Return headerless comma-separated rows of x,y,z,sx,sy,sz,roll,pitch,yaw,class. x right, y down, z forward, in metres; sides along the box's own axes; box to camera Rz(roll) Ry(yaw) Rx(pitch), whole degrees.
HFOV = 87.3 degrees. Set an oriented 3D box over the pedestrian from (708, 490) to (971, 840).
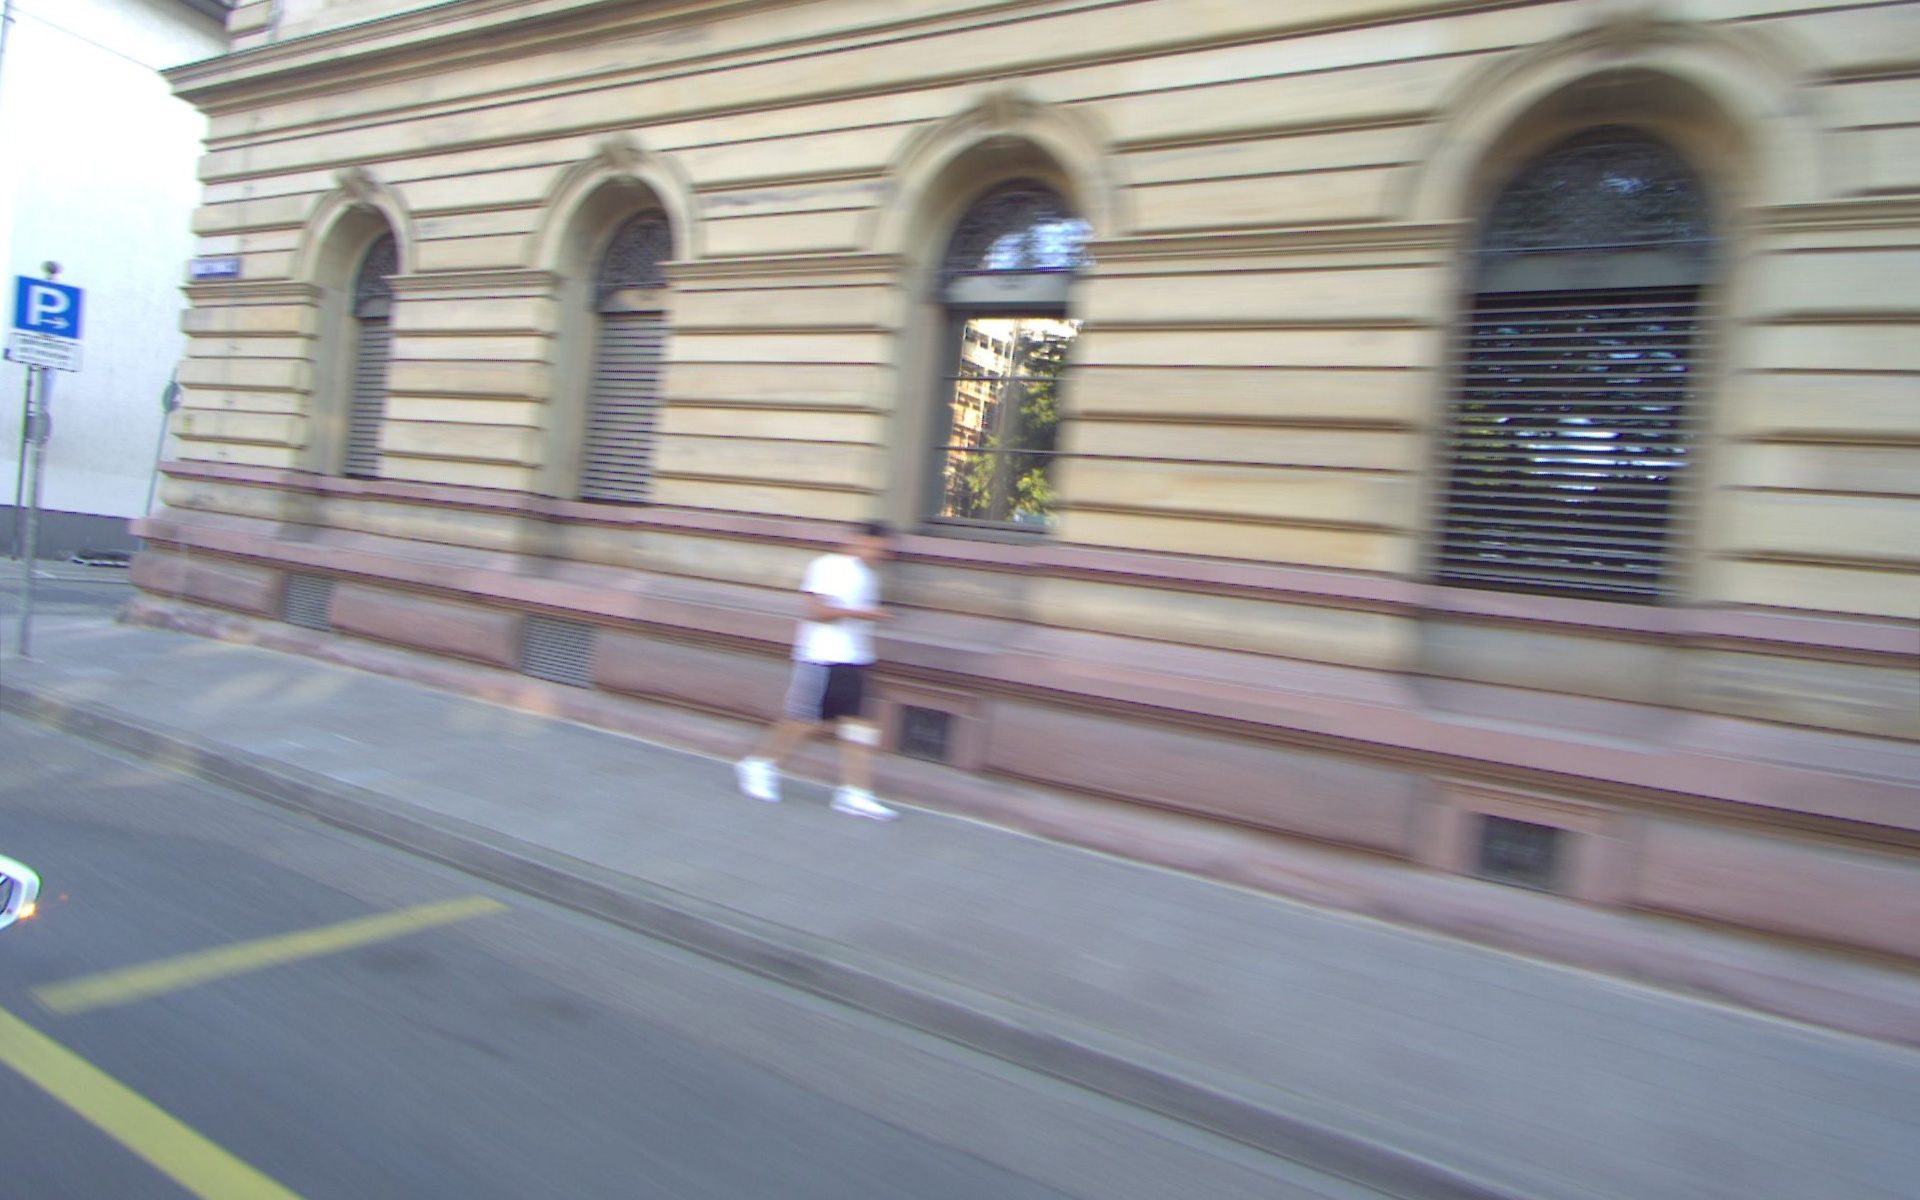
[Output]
-0.695,0.346,5.875,1.021,1.786,0.818,8,0,32,pedestrian
